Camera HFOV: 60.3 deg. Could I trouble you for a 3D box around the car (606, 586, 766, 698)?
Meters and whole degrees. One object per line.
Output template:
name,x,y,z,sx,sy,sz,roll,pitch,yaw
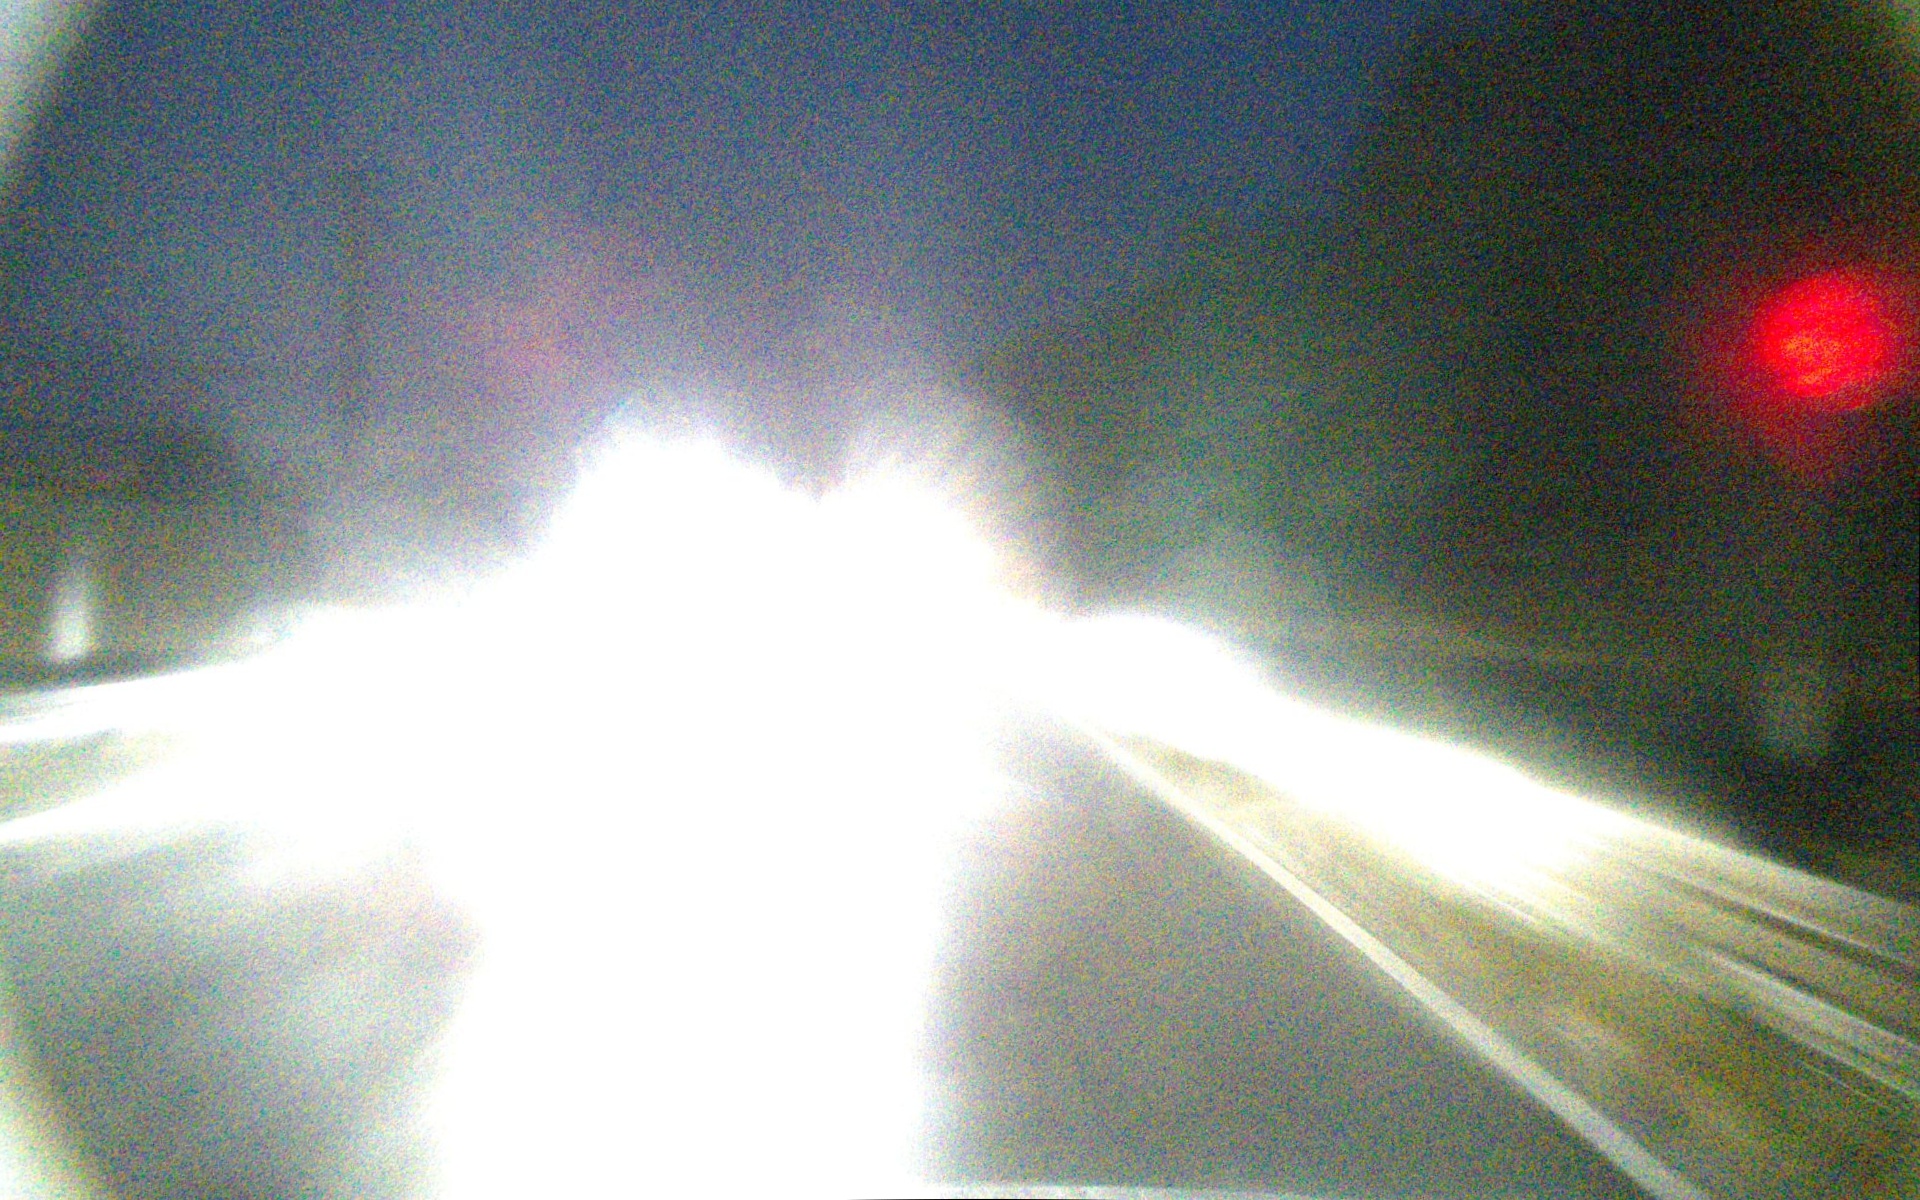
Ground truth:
car,-3.986,0.562,24.698,1.795,1.509,4.351,1,0,-2

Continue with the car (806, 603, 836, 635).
car,-8.589,1.182,102.581,1.796,1.903,4.425,1,0,-4

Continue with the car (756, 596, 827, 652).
car,-4.784,0.666,47.469,1.796,1.509,4.067,1,0,-3
